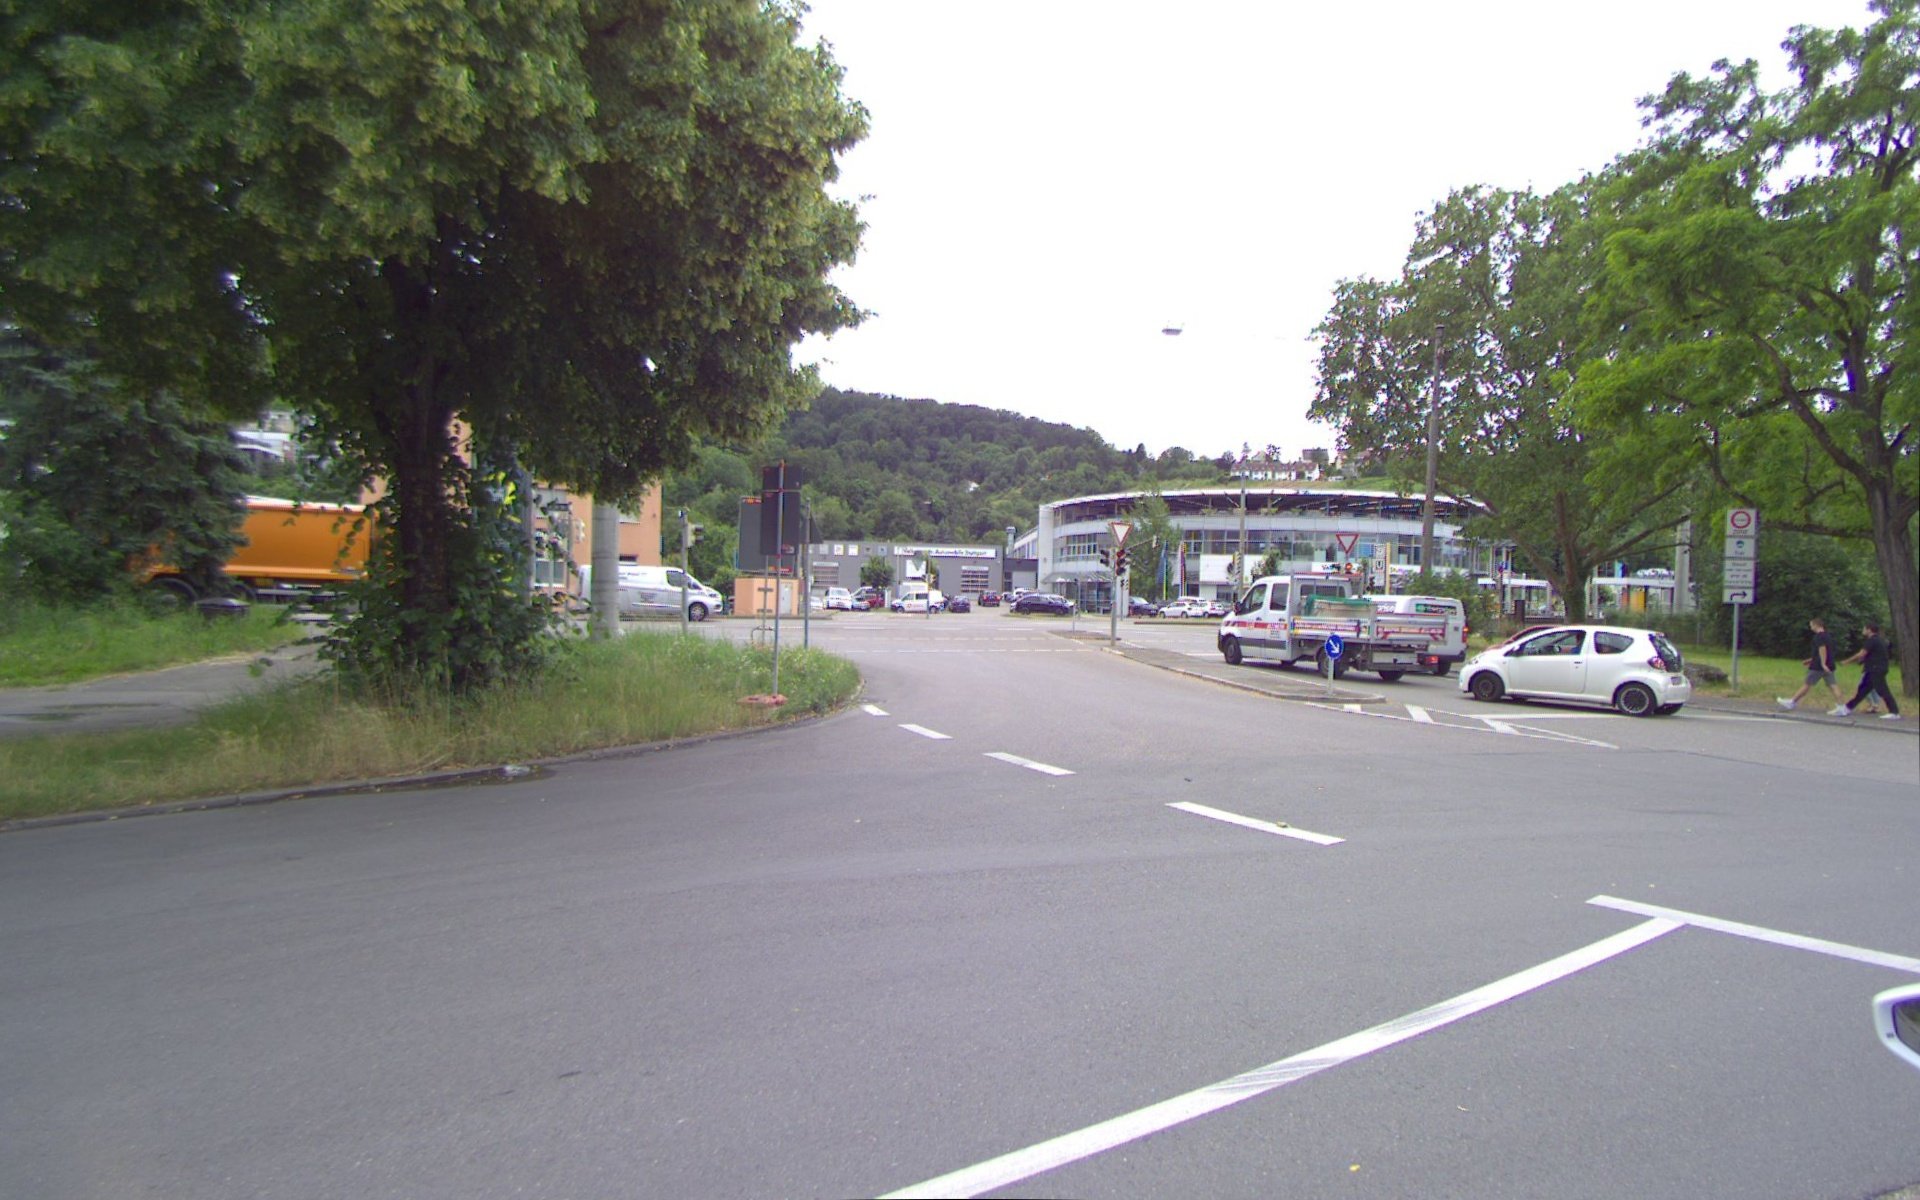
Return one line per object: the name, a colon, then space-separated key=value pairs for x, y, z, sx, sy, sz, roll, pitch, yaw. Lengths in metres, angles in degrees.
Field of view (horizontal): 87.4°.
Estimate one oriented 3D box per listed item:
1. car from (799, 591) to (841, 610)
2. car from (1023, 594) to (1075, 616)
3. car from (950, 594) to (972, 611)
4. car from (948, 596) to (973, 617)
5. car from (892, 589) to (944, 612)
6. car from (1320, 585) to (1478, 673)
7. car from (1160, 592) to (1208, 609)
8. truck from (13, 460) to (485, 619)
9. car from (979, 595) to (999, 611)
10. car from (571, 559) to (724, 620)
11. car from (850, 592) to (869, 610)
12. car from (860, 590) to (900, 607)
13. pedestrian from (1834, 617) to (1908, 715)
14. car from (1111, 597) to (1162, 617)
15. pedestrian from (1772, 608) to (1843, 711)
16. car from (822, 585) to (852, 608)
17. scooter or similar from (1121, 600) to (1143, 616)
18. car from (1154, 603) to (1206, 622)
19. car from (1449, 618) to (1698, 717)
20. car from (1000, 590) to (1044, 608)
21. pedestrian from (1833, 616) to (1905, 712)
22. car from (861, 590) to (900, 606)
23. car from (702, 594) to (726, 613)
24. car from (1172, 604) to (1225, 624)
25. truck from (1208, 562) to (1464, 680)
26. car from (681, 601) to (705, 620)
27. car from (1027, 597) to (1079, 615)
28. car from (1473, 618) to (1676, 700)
car: x=-12.273 y=0.037 z=87.913 sx=1.761 sy=1.554 sz=4.043 roll=1 pitch=1 yaw=-39
car: x=6.795 y=0.359 z=76.746 sx=3.802 sy=1.521 sz=1.776 roll=2 pitch=1 yaw=10
car: x=0.073 y=0.217 z=93.569 sx=1.741 sy=1.554 sz=4.088 roll=1 pitch=0 yaw=-4
car: x=0.022 y=0.560 z=93.498 sx=1.962 sy=1.840 sz=3.996 roll=1 pitch=1 yaw=-5
car: x=-3.733 y=0.055 z=90.096 sx=4.613 sy=1.929 sz=1.775 roll=1 pitch=1 yaw=-2
car: x=11.590 y=0.703 z=26.934 sx=1.957 sy=2.135 sz=4.759 roll=1 pitch=0 yaw=-3
car: x=21.551 y=0.065 z=96.656 sx=4.149 sy=1.512 sz=1.788 roll=2 pitch=1 yaw=39
truck: x=-19.211 y=-1.519 z=28.099 sx=10.258 sy=3.573 sz=2.786 roll=3 pitch=0 yaw=-18
car: x=3.109 y=0.323 z=107.396 sx=1.741 sy=1.554 sz=4.088 roll=1 pitch=0 yaw=-4
car: x=-11.529 y=-0.372 z=37.144 sx=5.221 sy=2.041 sz=1.963 roll=1 pitch=1 yaw=-21
car: x=-9.359 y=0.063 z=93.532 sx=1.742 sy=1.554 sz=4.086 roll=1 pitch=0 yaw=-6
car: x=-8.205 y=-0.157 z=102.873 sx=4.011 sy=1.554 sz=1.775 roll=1 pitch=1 yaw=-2
pedestrian: x=16.769 y=1.196 z=18.500 sx=0.686 sy=1.737 sz=0.783 roll=1 pitch=1 yaw=-25
car: x=14.278 y=0.579 z=81.398 sx=1.761 sy=1.521 sz=3.837 roll=1 pitch=1 yaw=-39
pedestrian: x=16.044 y=1.098 z=19.014 sx=0.686 sy=1.882 sz=0.783 roll=1 pitch=1 yaw=-25
car: x=-10.042 y=-0.298 z=81.779 sx=1.835 sy=1.842 sz=4.388 roll=1 pitch=0 yaw=-15
scooter or similar: x=13.426 y=0.610 z=78.555 sx=1.640 sy=1.193 sz=0.467 roll=1 pitch=1 yaw=0
car: x=18.299 y=1.034 z=83.639 sx=1.759 sy=1.521 sz=3.979 roll=1 pitch=1 yaw=-37
car: x=10.697 y=1.097 z=17.685 sx=1.629 sy=1.452 sz=3.393 roll=1 pitch=0 yaw=-38
car: x=6.886 y=-0.088 z=111.823 sx=4.719 sy=1.827 sz=1.774 roll=1 pitch=1 yaw=-4
pedestrian: x=17.325 y=1.195 z=19.151 sx=0.686 sy=1.763 sz=0.783 roll=1 pitch=1 yaw=-25
car: x=-8.275 y=-0.206 z=104.875 sx=4.011 sy=1.554 sz=1.775 roll=1 pitch=1 yaw=-2
car: x=-21.493 y=0.285 z=87.810 sx=1.752 sy=1.539 sz=3.622 roll=2 pitch=1 yaw=-10
car: x=20.045 y=1.189 z=84.509 sx=1.778 sy=1.512 sz=4.173 roll=1 pitch=1 yaw=-35
truck: x=8.648 y=0.419 z=23.910 sx=2.392 sy=2.430 sz=6.001 roll=1 pitch=0 yaw=-20
car: x=-23.448 y=0.927 z=88.294 sx=1.752 sy=1.539 sz=3.622 roll=2 pitch=1 yaw=-10
car: x=8.912 y=0.568 z=96.826 sx=4.719 sy=1.554 sz=1.774 roll=1 pitch=1 yaw=-4
car: x=12.828 y=1.197 z=21.193 sx=1.618 sy=1.476 sz=3.417 roll=2 pitch=0 yaw=-17
